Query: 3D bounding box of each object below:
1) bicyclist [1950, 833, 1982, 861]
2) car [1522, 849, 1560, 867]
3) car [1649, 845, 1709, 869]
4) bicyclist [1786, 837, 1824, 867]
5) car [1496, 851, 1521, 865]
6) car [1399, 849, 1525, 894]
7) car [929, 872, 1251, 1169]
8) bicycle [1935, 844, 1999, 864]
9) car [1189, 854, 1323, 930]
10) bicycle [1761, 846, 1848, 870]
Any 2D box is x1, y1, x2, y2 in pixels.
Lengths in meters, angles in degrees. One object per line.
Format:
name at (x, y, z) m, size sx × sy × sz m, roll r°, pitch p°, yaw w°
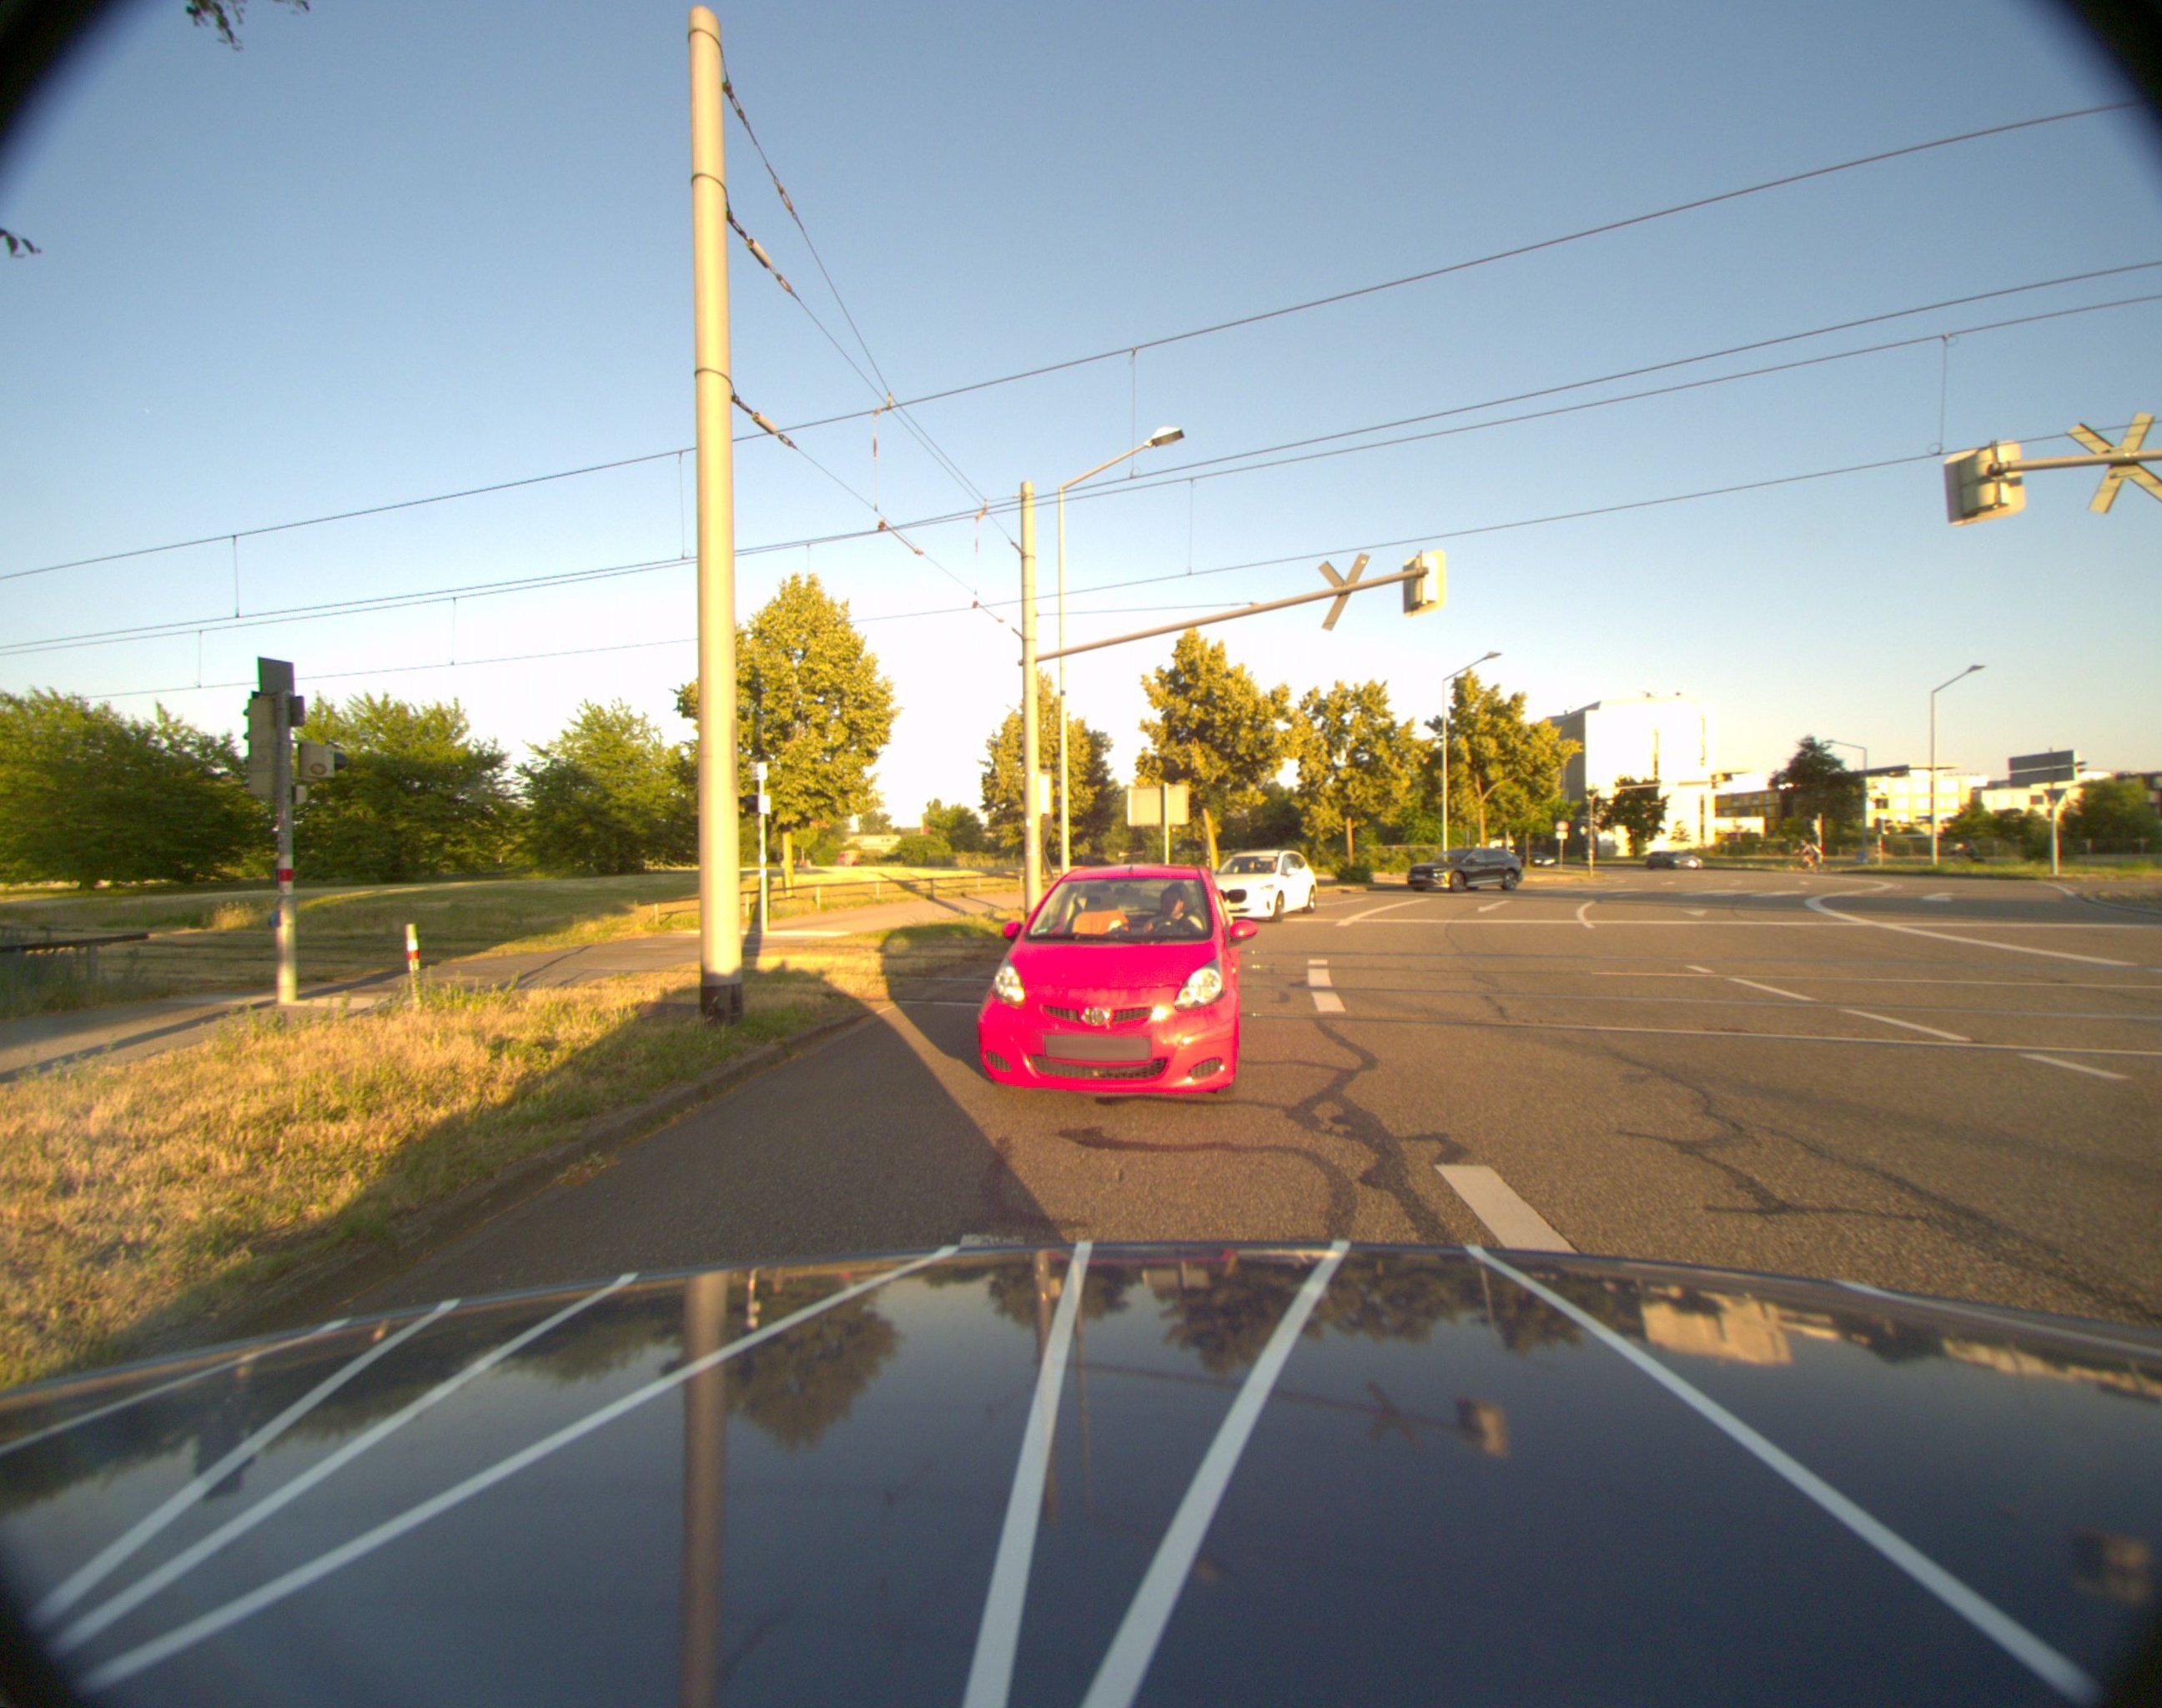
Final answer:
bicyclist at (52.034, -0.403, 44.683) m, size 0.998 × 1.623 × 0.812 m, roll 0°, pitch 1°, yaw 26°
car at (44.527, 0.362, 73.640) m, size 1.870 × 1.616 × 4.196 m, roll -1°, pitch 1°, yaw 12°
car at (44.041, 0.185, 56.031) m, size 1.870 × 1.616 × 4.196 m, roll -1°, pitch 1°, yaw 13°
bicyclist at (42.475, -0.140, 44.609) m, size 1.413 × 1.739 × 1.126 m, roll 0°, pitch 1°, yaw 31°
car at (52.532, 0.519, 93.448) m, size 1.869 × 1.616 × 4.197 m, roll -1°, pitch 1°, yaw 16°
car at (14.040, 0.612, 27.997) m, size 4.219 × 1.549 × 1.825 m, roll -1°, pitch 0°, yaw -23°
car at (0.468, 0.890, 6.064) m, size 1.691 × 1.413 × 4.215 m, roll 0°, pitch 0°, yaw 13°
bicycle at (52.061, -0.012, 44.693) m, size 2.323 × 1.172 × 0.812 m, roll -1°, pitch 1°, yaw 26°
car at (4.191, 0.780, 17.698) m, size 1.755 × 1.549 × 4.223 m, roll 0°, pitch 0°, yaw 32°
bicycle at (42.442, 0.235, 44.639) m, size 3.529 × 1.387 × 1.126 m, roll 0°, pitch 1°, yaw 31°
